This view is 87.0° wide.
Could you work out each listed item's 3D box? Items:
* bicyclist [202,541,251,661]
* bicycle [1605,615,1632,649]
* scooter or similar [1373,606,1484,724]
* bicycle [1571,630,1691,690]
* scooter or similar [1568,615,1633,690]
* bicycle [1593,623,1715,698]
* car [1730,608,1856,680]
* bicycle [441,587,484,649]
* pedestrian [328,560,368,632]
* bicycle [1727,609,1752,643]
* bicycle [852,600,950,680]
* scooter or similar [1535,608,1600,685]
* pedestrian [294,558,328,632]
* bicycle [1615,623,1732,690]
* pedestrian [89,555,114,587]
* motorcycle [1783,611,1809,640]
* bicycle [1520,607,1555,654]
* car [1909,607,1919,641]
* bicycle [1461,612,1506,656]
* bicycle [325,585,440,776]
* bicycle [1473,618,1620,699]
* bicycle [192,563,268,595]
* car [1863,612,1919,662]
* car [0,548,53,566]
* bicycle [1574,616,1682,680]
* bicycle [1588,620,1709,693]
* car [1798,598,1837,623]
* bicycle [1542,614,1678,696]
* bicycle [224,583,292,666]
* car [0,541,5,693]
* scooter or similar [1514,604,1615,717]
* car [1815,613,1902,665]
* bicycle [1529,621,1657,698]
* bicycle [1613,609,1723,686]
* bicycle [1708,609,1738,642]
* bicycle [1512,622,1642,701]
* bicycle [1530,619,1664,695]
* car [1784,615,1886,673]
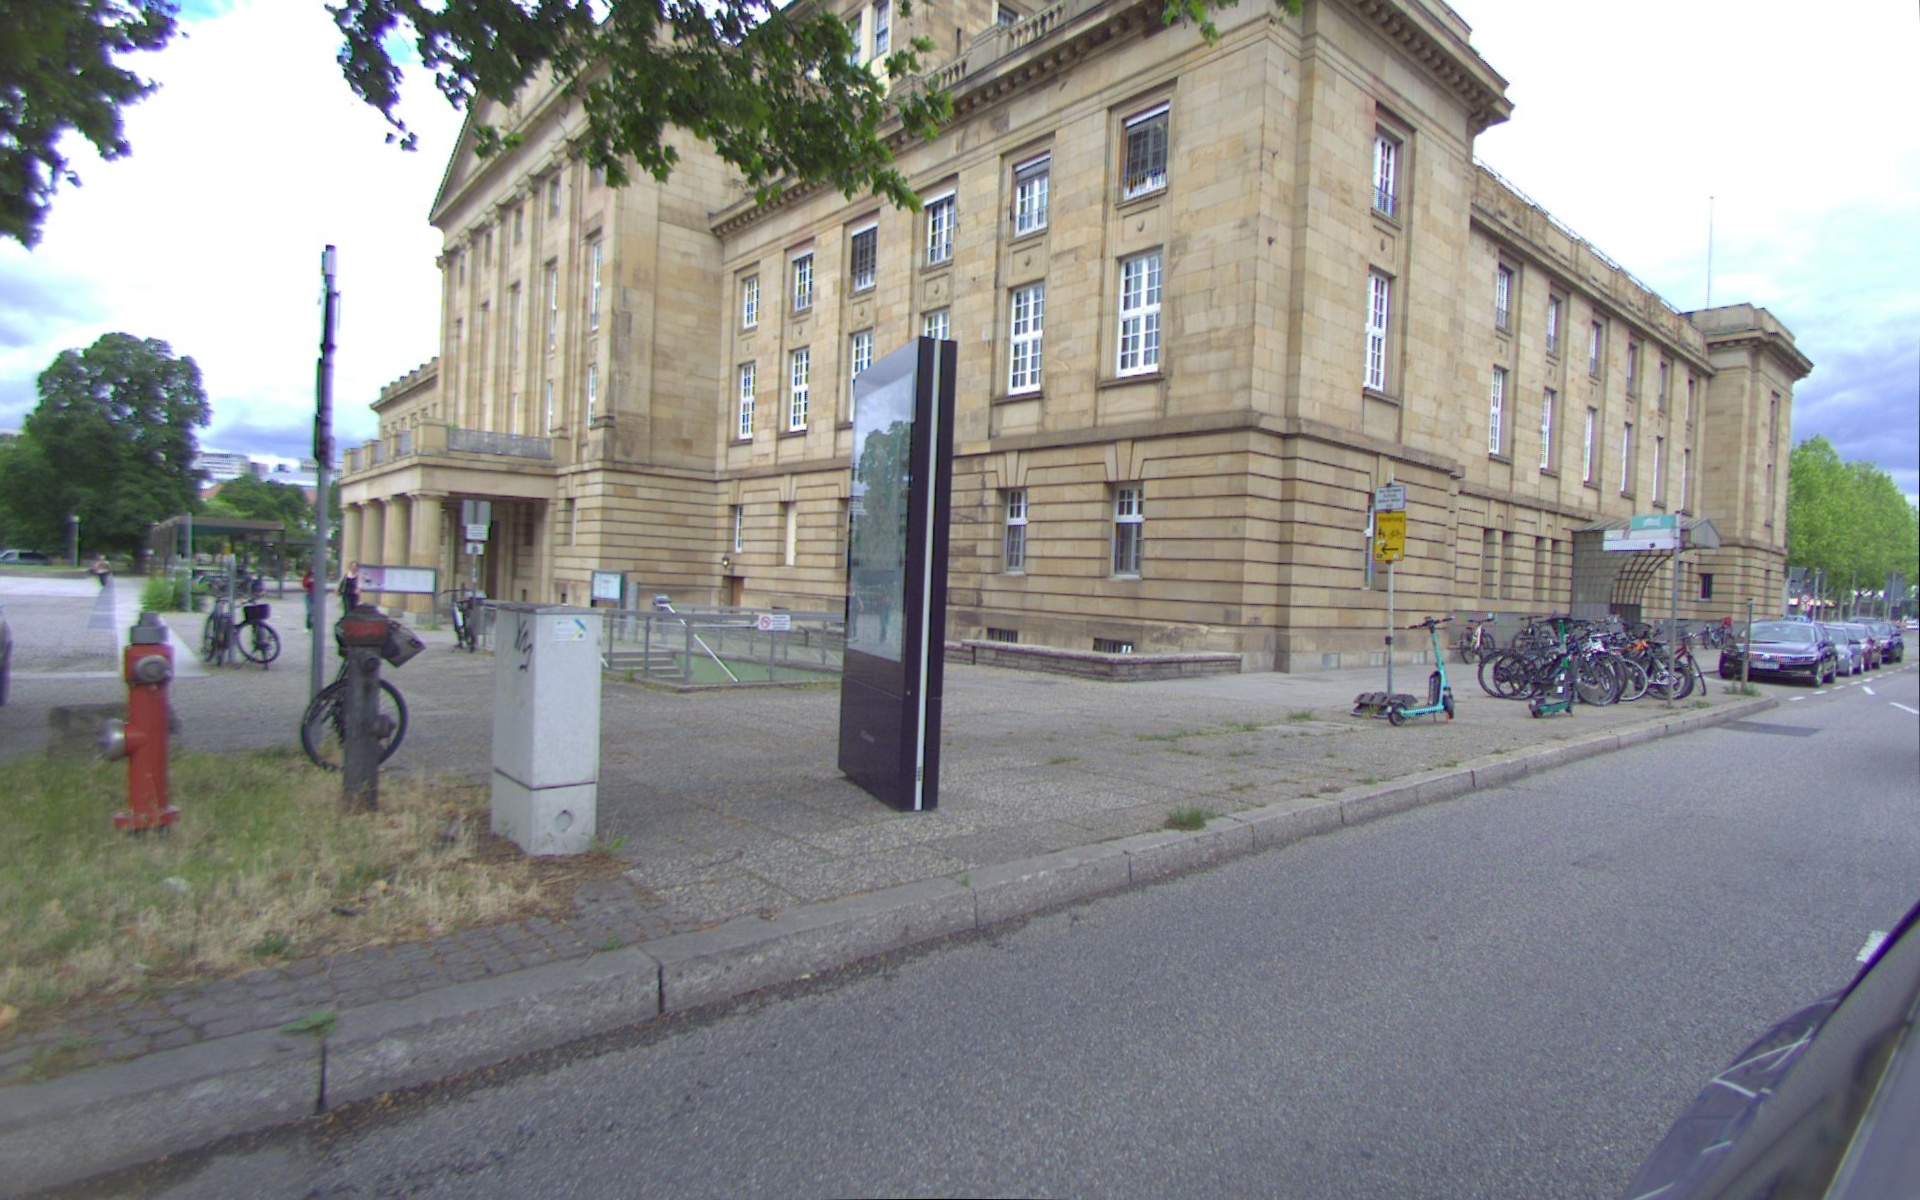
[{"bbox_3d":[-11.010,0.007,15.191,0.436,1.770,0.468,2,0,42],"label":"bicyclist"},{"bbox_3d":[20.232,0.976,31.094,1.827,1.042,0.222,1,-1,-42],"label":"bicycle"},{"bbox_3d":[5.473,0.730,11.791,1.405,1.297,0.433,1,0,-30],"label":"scooter or similar"},{"bbox_3d":[11.958,1.048,18.093,0.601,0.928,1.737,1,1,-22],"label":"bicycle"},{"bbox_3d":[11.048,0.892,17.448,1.286,1.239,0.427,0,-1,-31],"label":"scooter or similar"},{"bbox_3d":[11.395,0.977,16.663,1.597,1.144,0.405,1,-1,24],"label":"bicycle"},{"bbox_3d":[19.967,1.006,24.196,4.253,1.504,1.790,2,1,-44],"label":"car"},{"bbox_3d":[-9.503,0.316,19.316,0.418,1.114,2.173,1,0,-34],"label":"bicycle"},{"bbox_3d":[-15.071,-0.102,24.916,0.692,1.744,0.680,2,0,-42],"label":"pedestrian"},{"bbox_3d":[30.985,1.037,40.228,1.759,1.304,0.413,1,1,-42],"label":"bicycle"},{"bbox_3d":[-0.966,0.606,16.060,0.382,1.139,2.015,1,1,-41],"label":"bicycle"},{"bbox_3d":[10.738,0.807,17.876,1.126,1.295,0.564,1,-1,-35],"label":"scooter or similar"},{"bbox_3d":[-15.214,-0.125,23.733,0.559,1.716,0.431,2,0,-42],"label":"pedestrian"},{"bbox_3d":[12.800,0.985,18.207,0.573,1.088,1.671,1,0,-21],"label":"bicycle"},{"bbox_3d":[-50.718,-1.715,59.789,0.539,1.828,0.939,0,-1,22],"label":"pedestrian"},{"bbox_3d":[38.356,1.156,46.427,1.887,1.257,0.456,1,2,-38],"label":"motorcycle"},{"bbox_3d":[15.153,0.791,26.536,1.510,1.198,0.276,1,0,-39],"label":"bicycle"},{"bbox_3d":[59.783,1.506,62.094,3.933,2.039,1.996,1,1,-44],"label":"car"},{"bbox_3d":[12.454,0.792,24.053,1.929,1.010,0.240,1,1,-42],"label":"bicycle"},{"bbox_3d":[-4.363,0.530,7.589,0.483,1.236,1.790,1,1,-37],"label":"bicycle"},{"bbox_3d":[8.834,0.845,15.326,0.652,1.105,1.866,1,0,-28],"label":"bicycle"},{"bbox_3d":[-34.884,-0.991,48.399,2.852,1.444,0.959,0,-1,-45],"label":"bicycle"},{"bbox_3d":[33.114,1.286,35.521,3.642,1.571,1.549,1,2,-40],"label":"car"},{"bbox_3d":[-97.788,-4.477,105.377,4.822,1.761,2.077,0,0,-38],"label":"car"},{"bbox_3d":[11.766,0.819,17.874,0.427,1.041,1.570,1,0,-29],"label":"bicycle"},{"bbox_3d":[11.475,0.922,16.921,1.597,1.144,0.466,1,-1,24],"label":"bicycle"},{"bbox_3d":[56.046,0.679,66.121,3.445,1.549,1.581,1,0,-44],"label":"car"},{"bbox_3d":[10.499,0.854,16.399,0.594,1.224,1.759,2,-1,-43],"label":"bicycle"},{"bbox_3d":[-10.646,0.344,15.321,1.748,1.146,0.437,3,1,42],"label":"bicycle"},{"bbox_3d":[-9.501,0.228,8.675,1.649,1.588,3.844,1,1,-40],"label":"car"},{"bbox_3d":[7.751,0.738,12.963,1.389,1.348,0.726,1,0,-42],"label":"scooter or similar"},{"bbox_3d":[29.018,1.220,32.641,3.792,1.473,1.619,1,2,-42],"label":"car"},{"bbox_3d":[9.848,0.897,15.806,0.373,1.105,1.736,1,0,-28],"label":"bicycle"},{"bbox_3d":[12.487,0.811,17.895,0.532,1.273,1.550,1,0,-22],"label":"bicycle"},{"bbox_3d":[29.522,0.986,39.151,1.882,1.232,0.556,1,1,-42],"label":"bicycle"},{"bbox_3d":[9.481,0.922,15.627,0.417,1.105,1.736,1,0,-28],"label":"bicycle"},{"bbox_3d":[10.122,0.878,16.148,0.563,1.105,1.735,1,0,-32],"label":"bicycle"},{"bbox_3d":[25.093,1.208,28.990,3.928,1.443,1.711,1,2,-42],"label":"car"}]
